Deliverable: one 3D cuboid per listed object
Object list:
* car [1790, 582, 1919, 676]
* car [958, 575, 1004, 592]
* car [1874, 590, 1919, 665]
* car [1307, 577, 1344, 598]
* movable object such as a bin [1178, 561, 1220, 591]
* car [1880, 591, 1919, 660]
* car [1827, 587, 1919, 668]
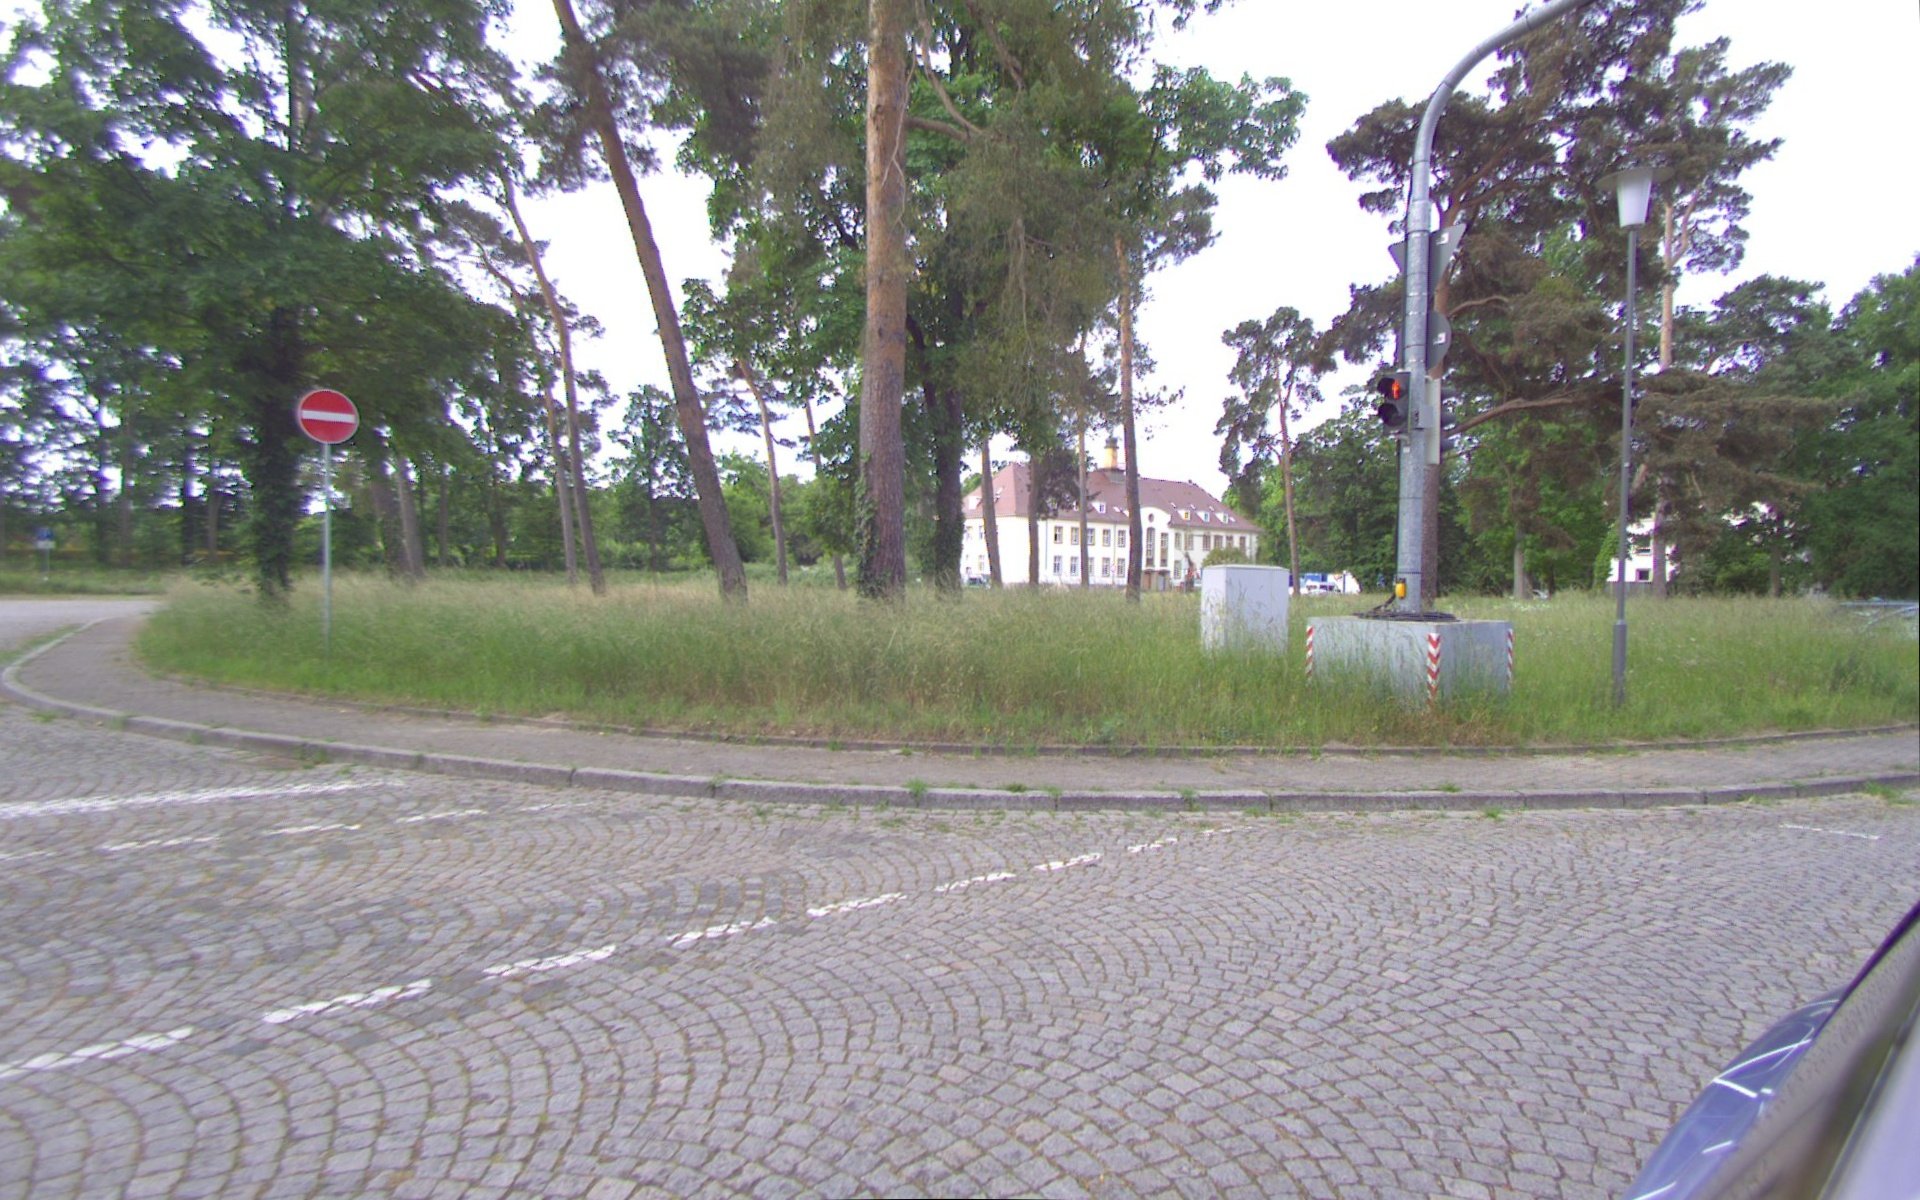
[{"bbox_3d":[16.698,0.564,16.930,1.667,1.446,4.014,0,4,-38],"label":"car"},{"bbox_3d":[2.465,-1.982,119.782,2.157,1.985,5.788,0,1,-41],"label":"car"},{"bbox_3d":[21.059,0.656,19.898,1.684,1.491,4.254,1,2,-34],"label":"car"},{"bbox_3d":[41.846,-1.467,115.912,4.365,2.394,1.863,0,1,-37],"label":"car"},{"bbox_3d":[31.531,-3.137,133.687,2.013,3.817,5.467,0,1,-33],"label":"movable object such as a bin"},{"bbox_3d":[22.757,0.662,21.694,1.685,1.500,4.188,1,3,-36],"label":"car"},{"bbox_3d":[18.851,0.620,18.354,1.633,1.400,4.443,0,4,-38],"label":"car"}]
